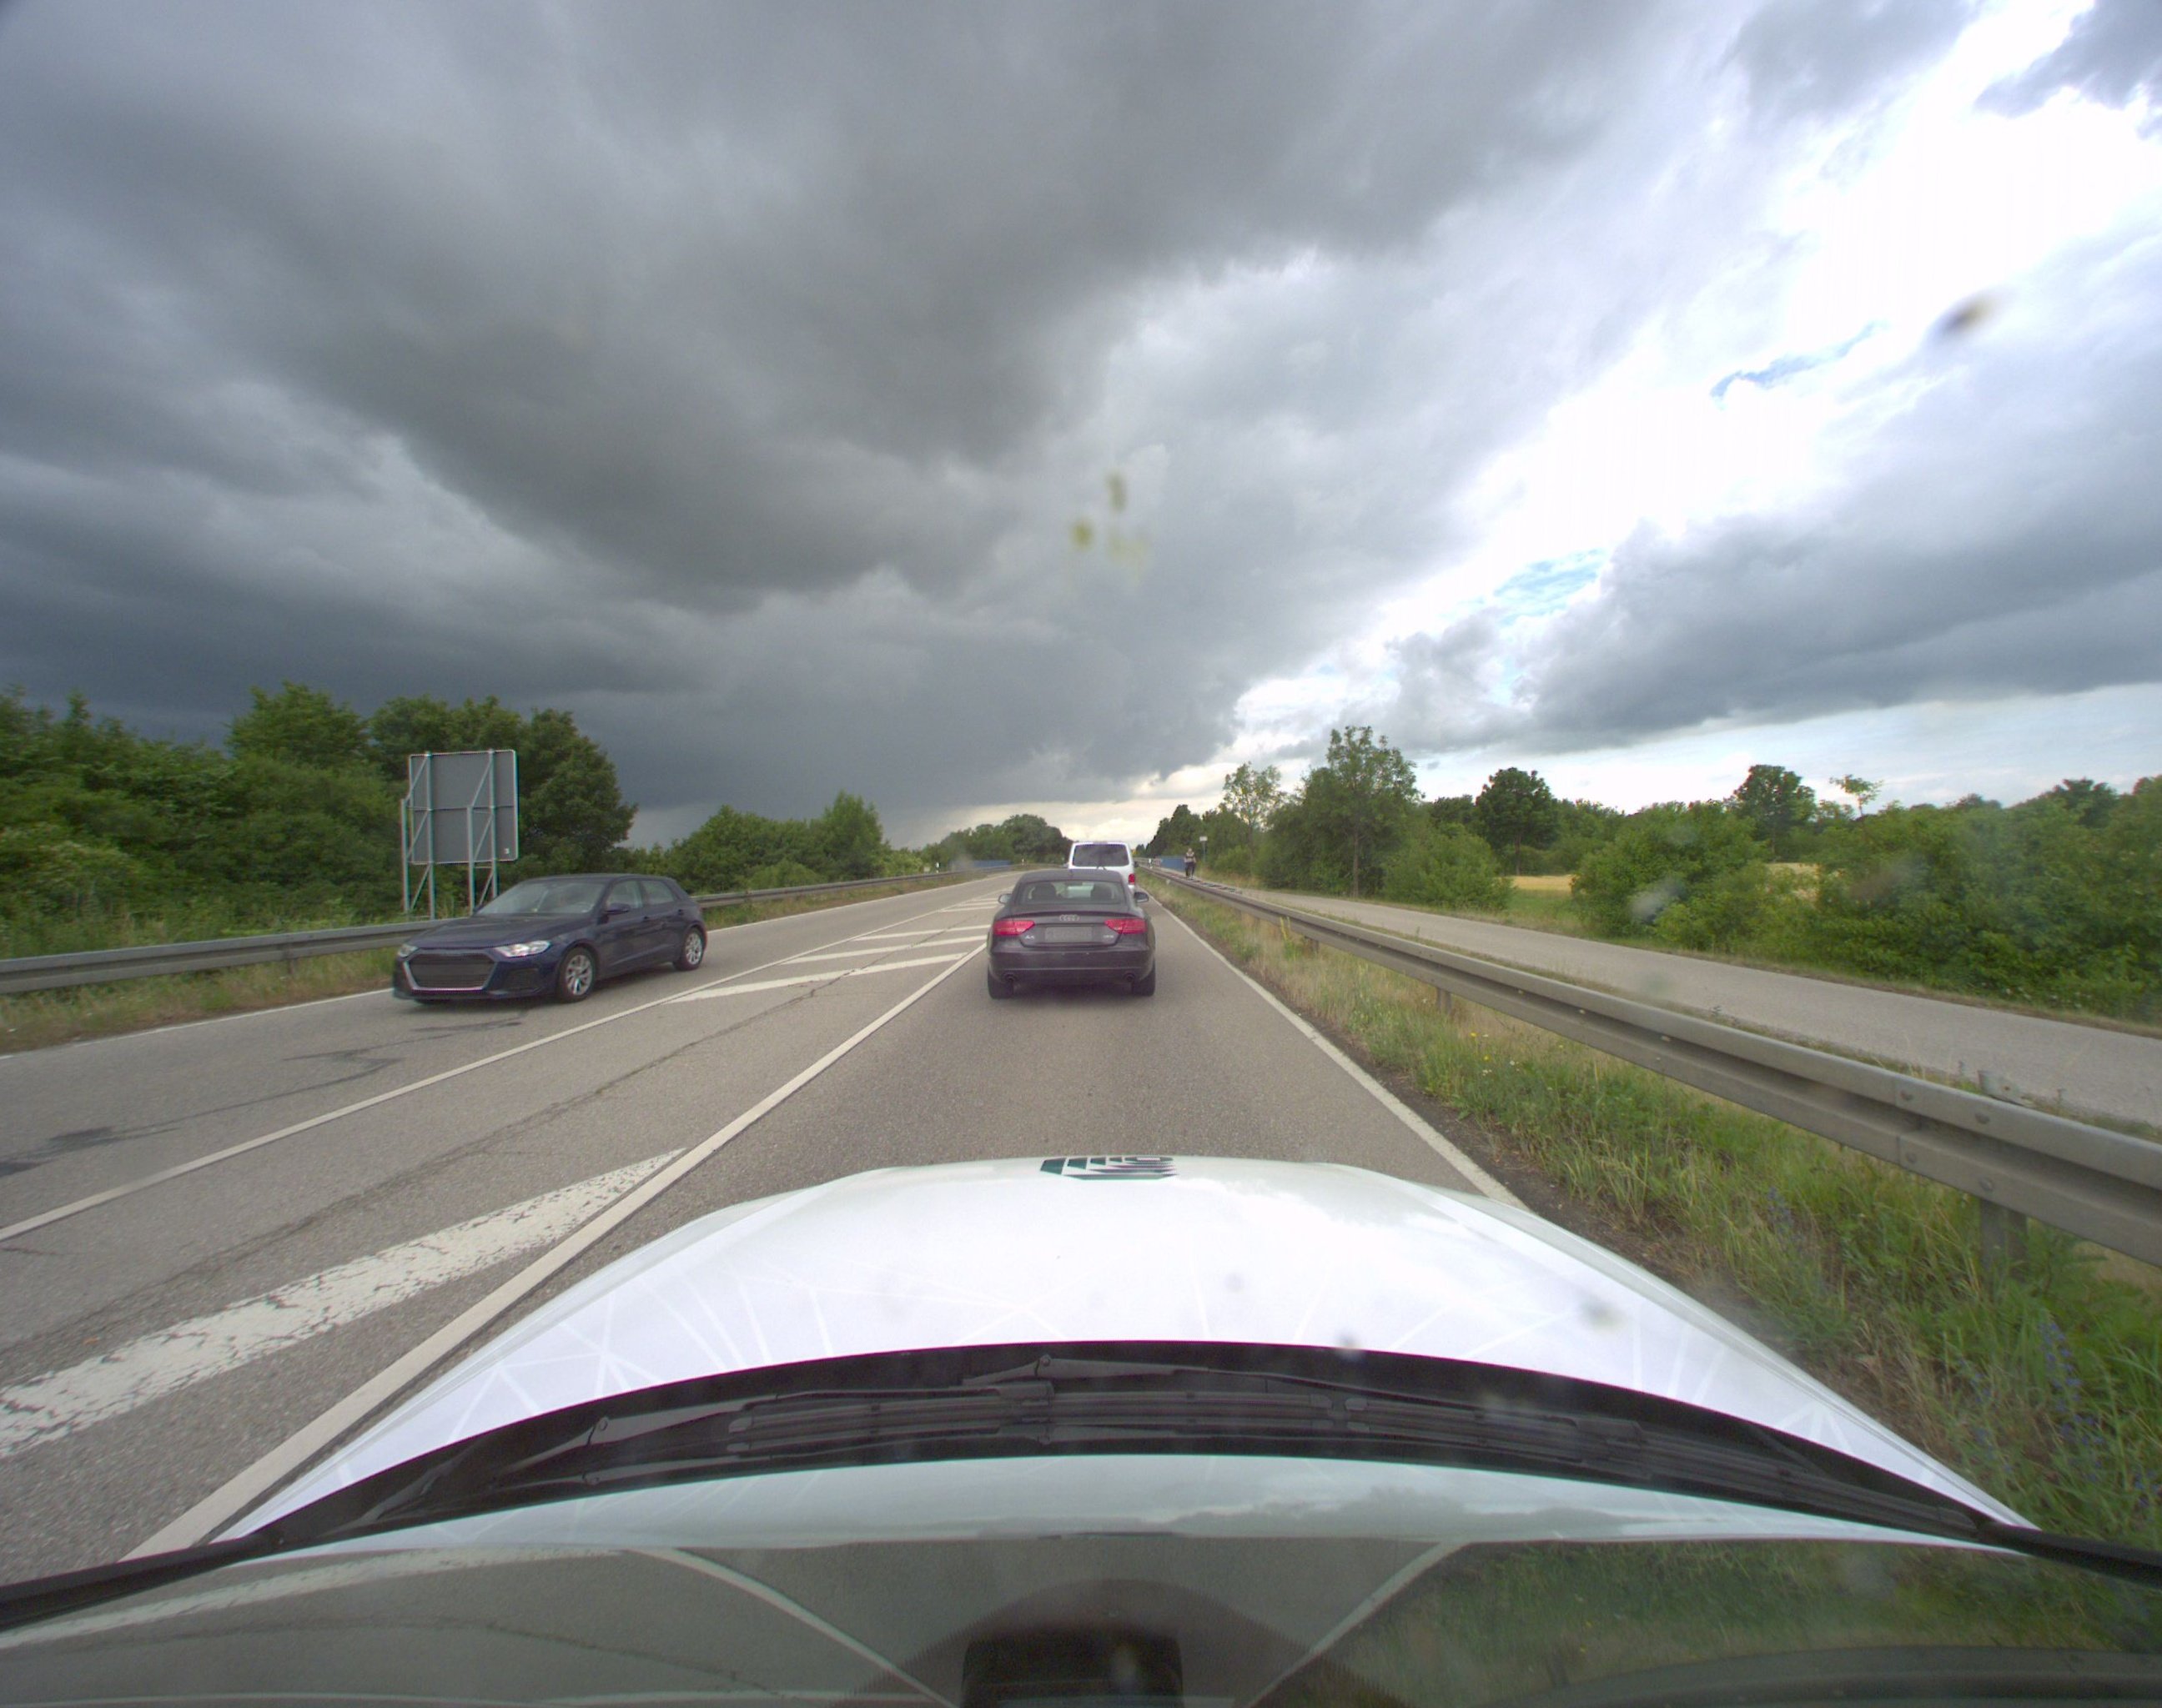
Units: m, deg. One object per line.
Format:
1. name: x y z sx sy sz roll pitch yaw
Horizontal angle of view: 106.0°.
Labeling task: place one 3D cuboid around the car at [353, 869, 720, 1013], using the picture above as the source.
1. car: -6.418 0.922 10.271 1.856 1.376 4.001 -1 -1 1

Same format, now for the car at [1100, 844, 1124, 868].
1. car: 3.372 0.173 88.559 2.438 2.504 5.044 0 0 2

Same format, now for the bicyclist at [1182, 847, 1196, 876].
1. bicyclist: 6.124 0.433 46.299 0.644 1.645 0.866 -2 -1 1

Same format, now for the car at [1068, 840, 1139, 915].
1. car: 0.617 0.623 22.508 1.779 1.890 4.001 0 -1 1

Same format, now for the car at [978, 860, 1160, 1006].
1. car: -0.064 0.809 10.015 1.779 1.424 4.001 0 -1 1

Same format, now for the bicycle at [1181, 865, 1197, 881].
1. bicycle: 6.146 1.070 46.311 0.663 0.920 1.831 -2 -1 2
